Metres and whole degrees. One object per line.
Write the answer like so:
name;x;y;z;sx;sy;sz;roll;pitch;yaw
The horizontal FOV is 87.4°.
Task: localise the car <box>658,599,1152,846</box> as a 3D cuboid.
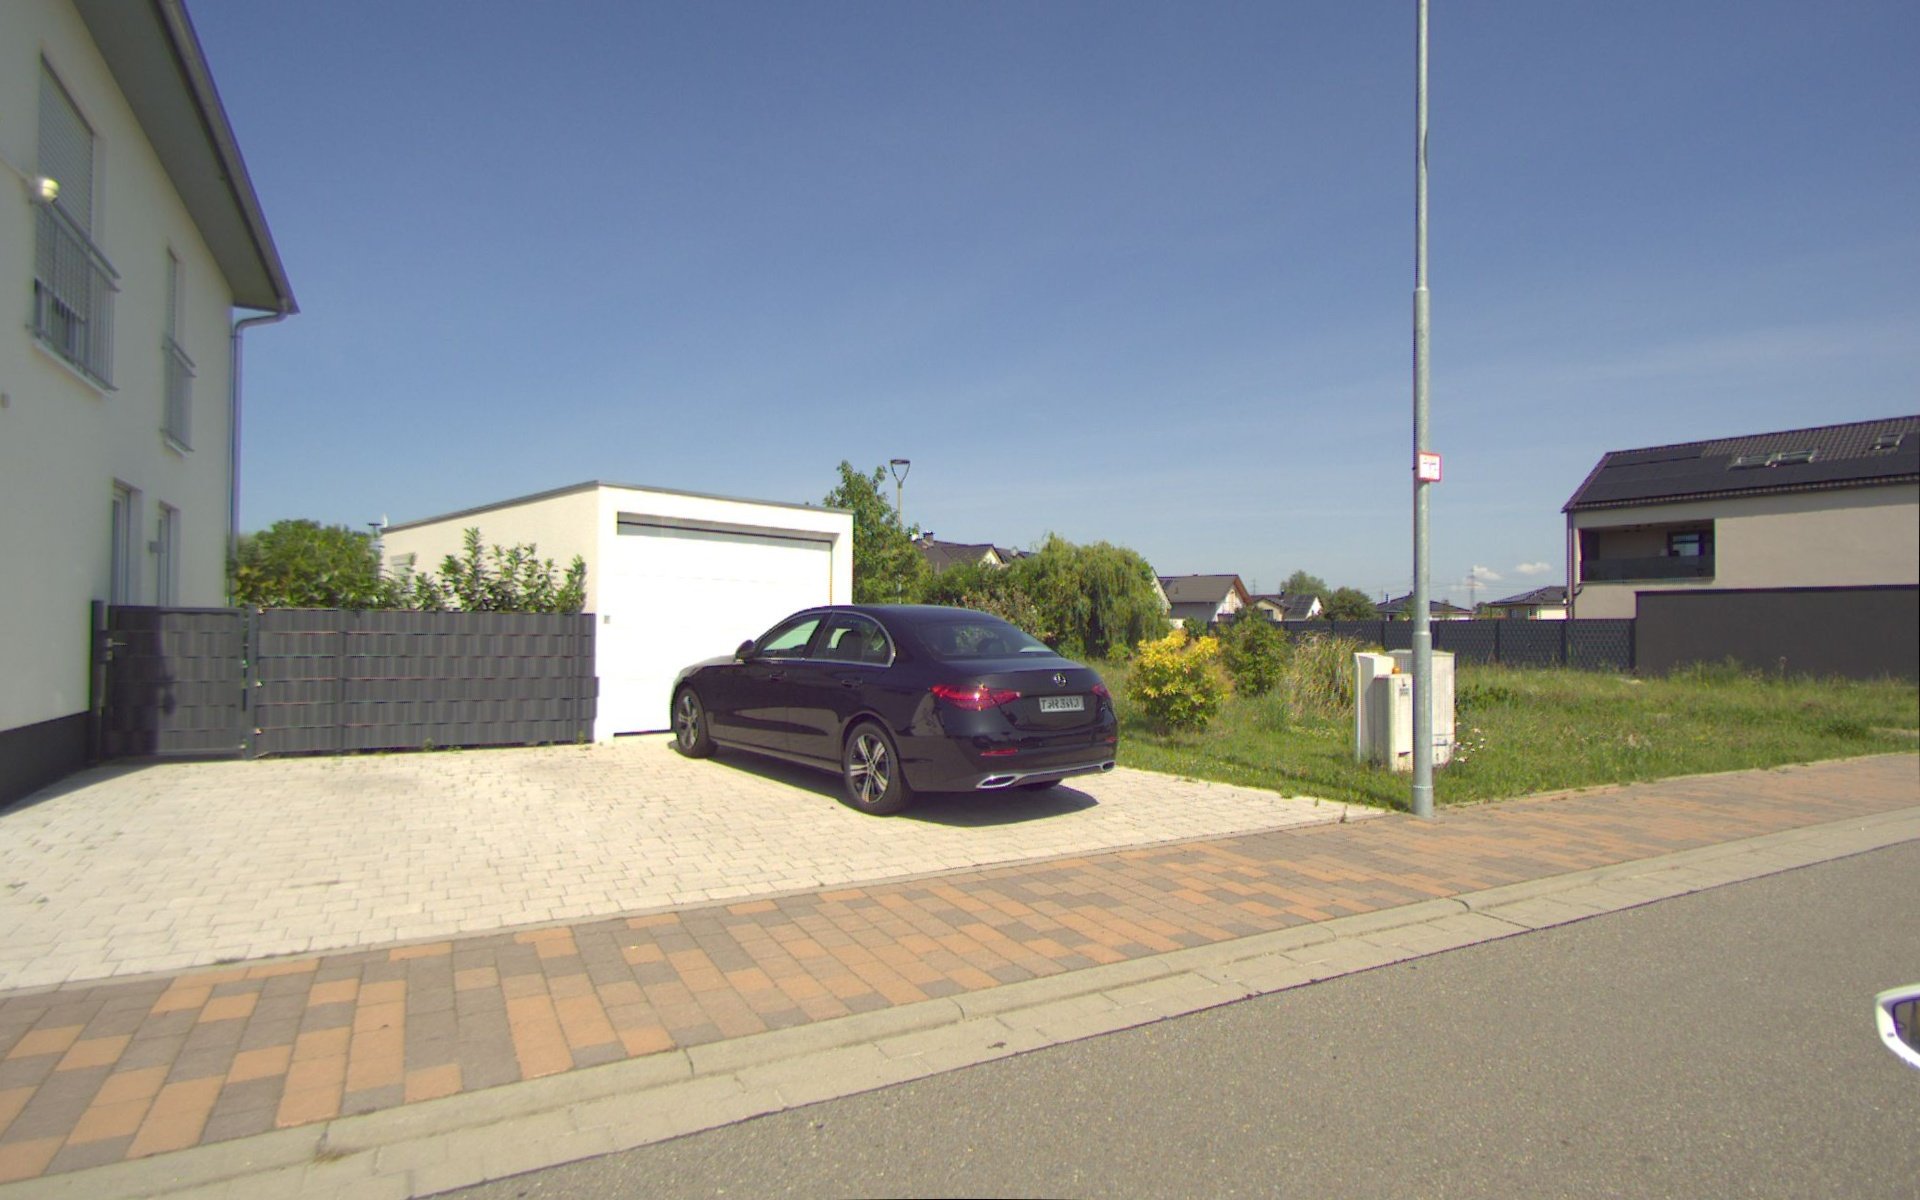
car;-0.707;0.760;8.283;1.736;1.471;4.353;2;-1;-42
